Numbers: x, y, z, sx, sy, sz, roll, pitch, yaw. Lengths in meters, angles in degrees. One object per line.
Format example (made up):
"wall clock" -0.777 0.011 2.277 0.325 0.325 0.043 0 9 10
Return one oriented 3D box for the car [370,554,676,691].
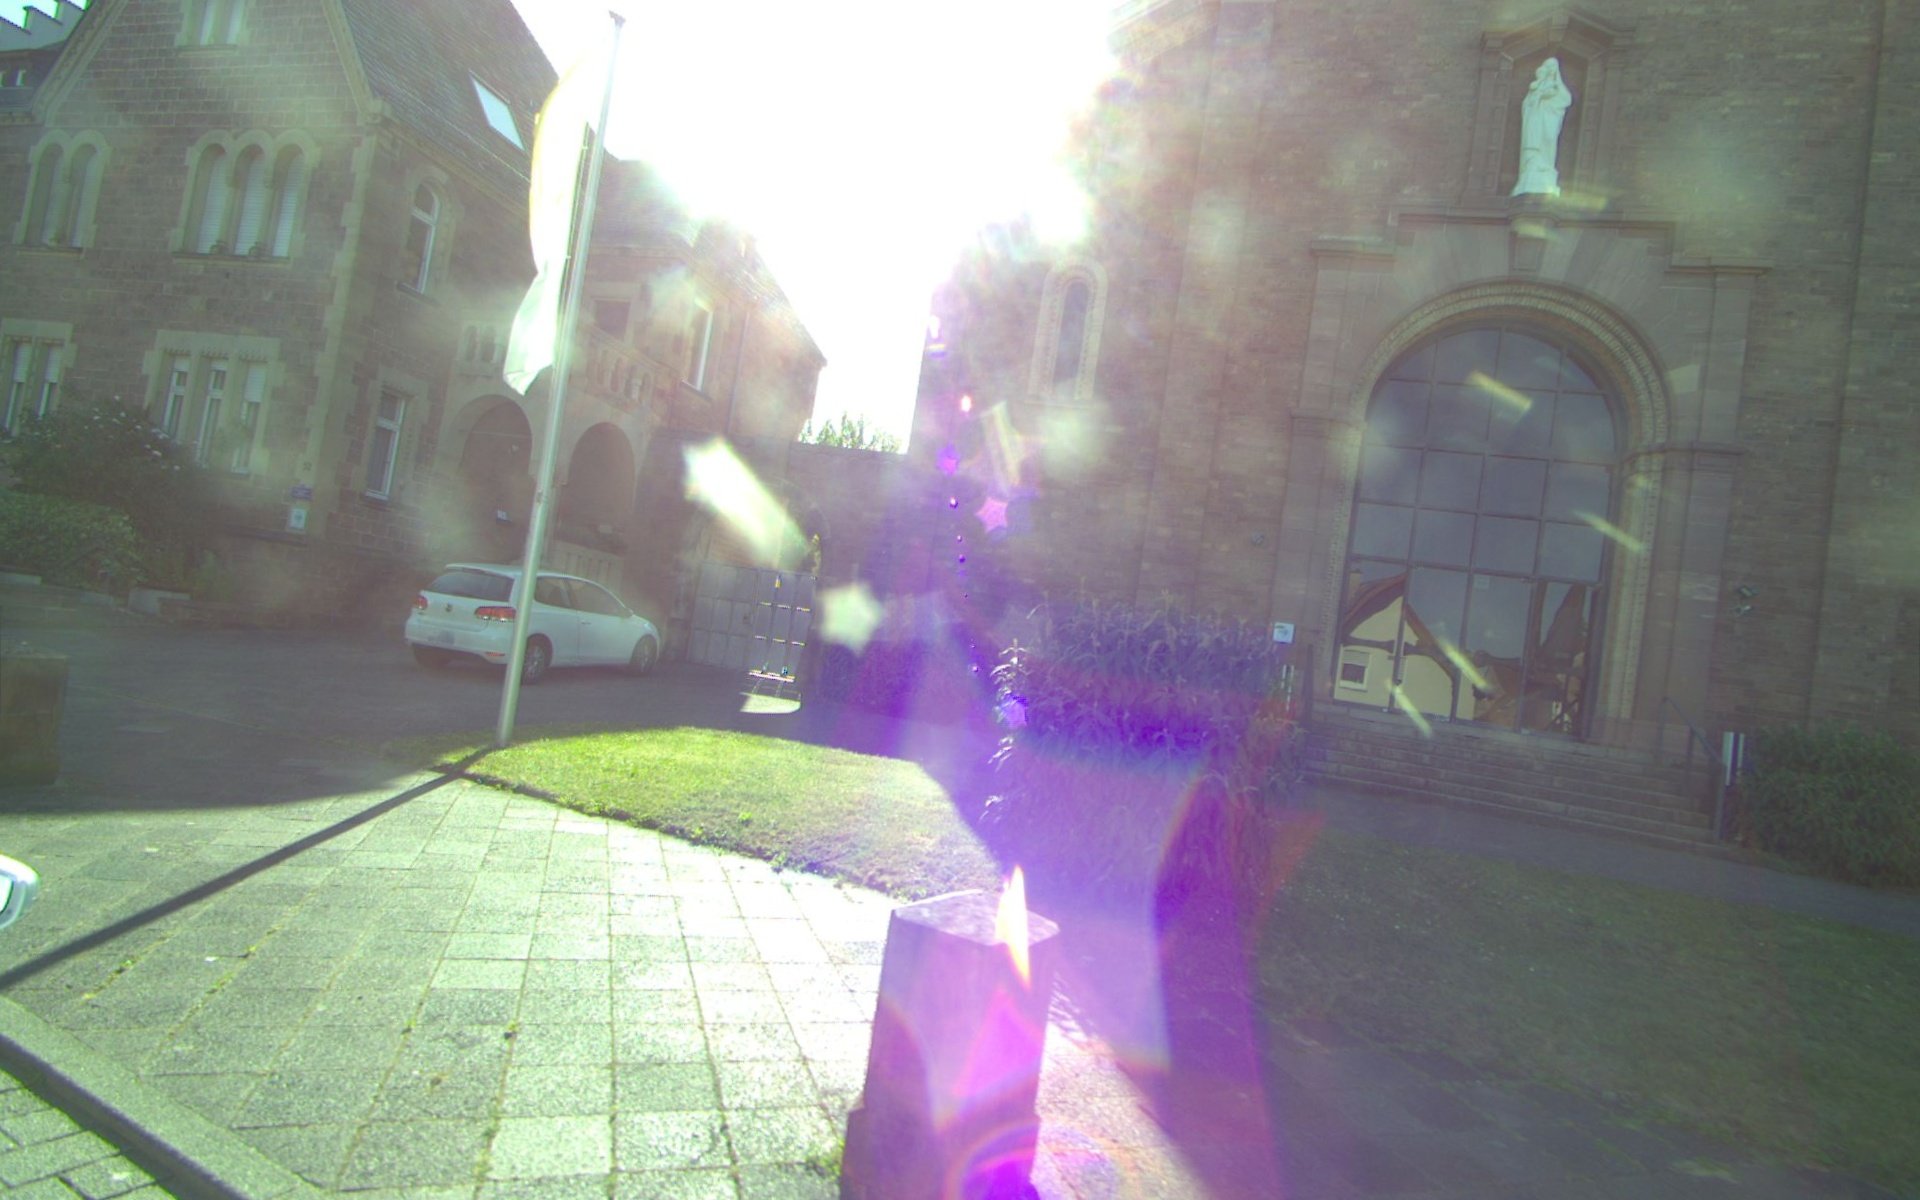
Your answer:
"car" -6.031 0.350 14.443 1.868 1.514 3.912 6 -1 15
